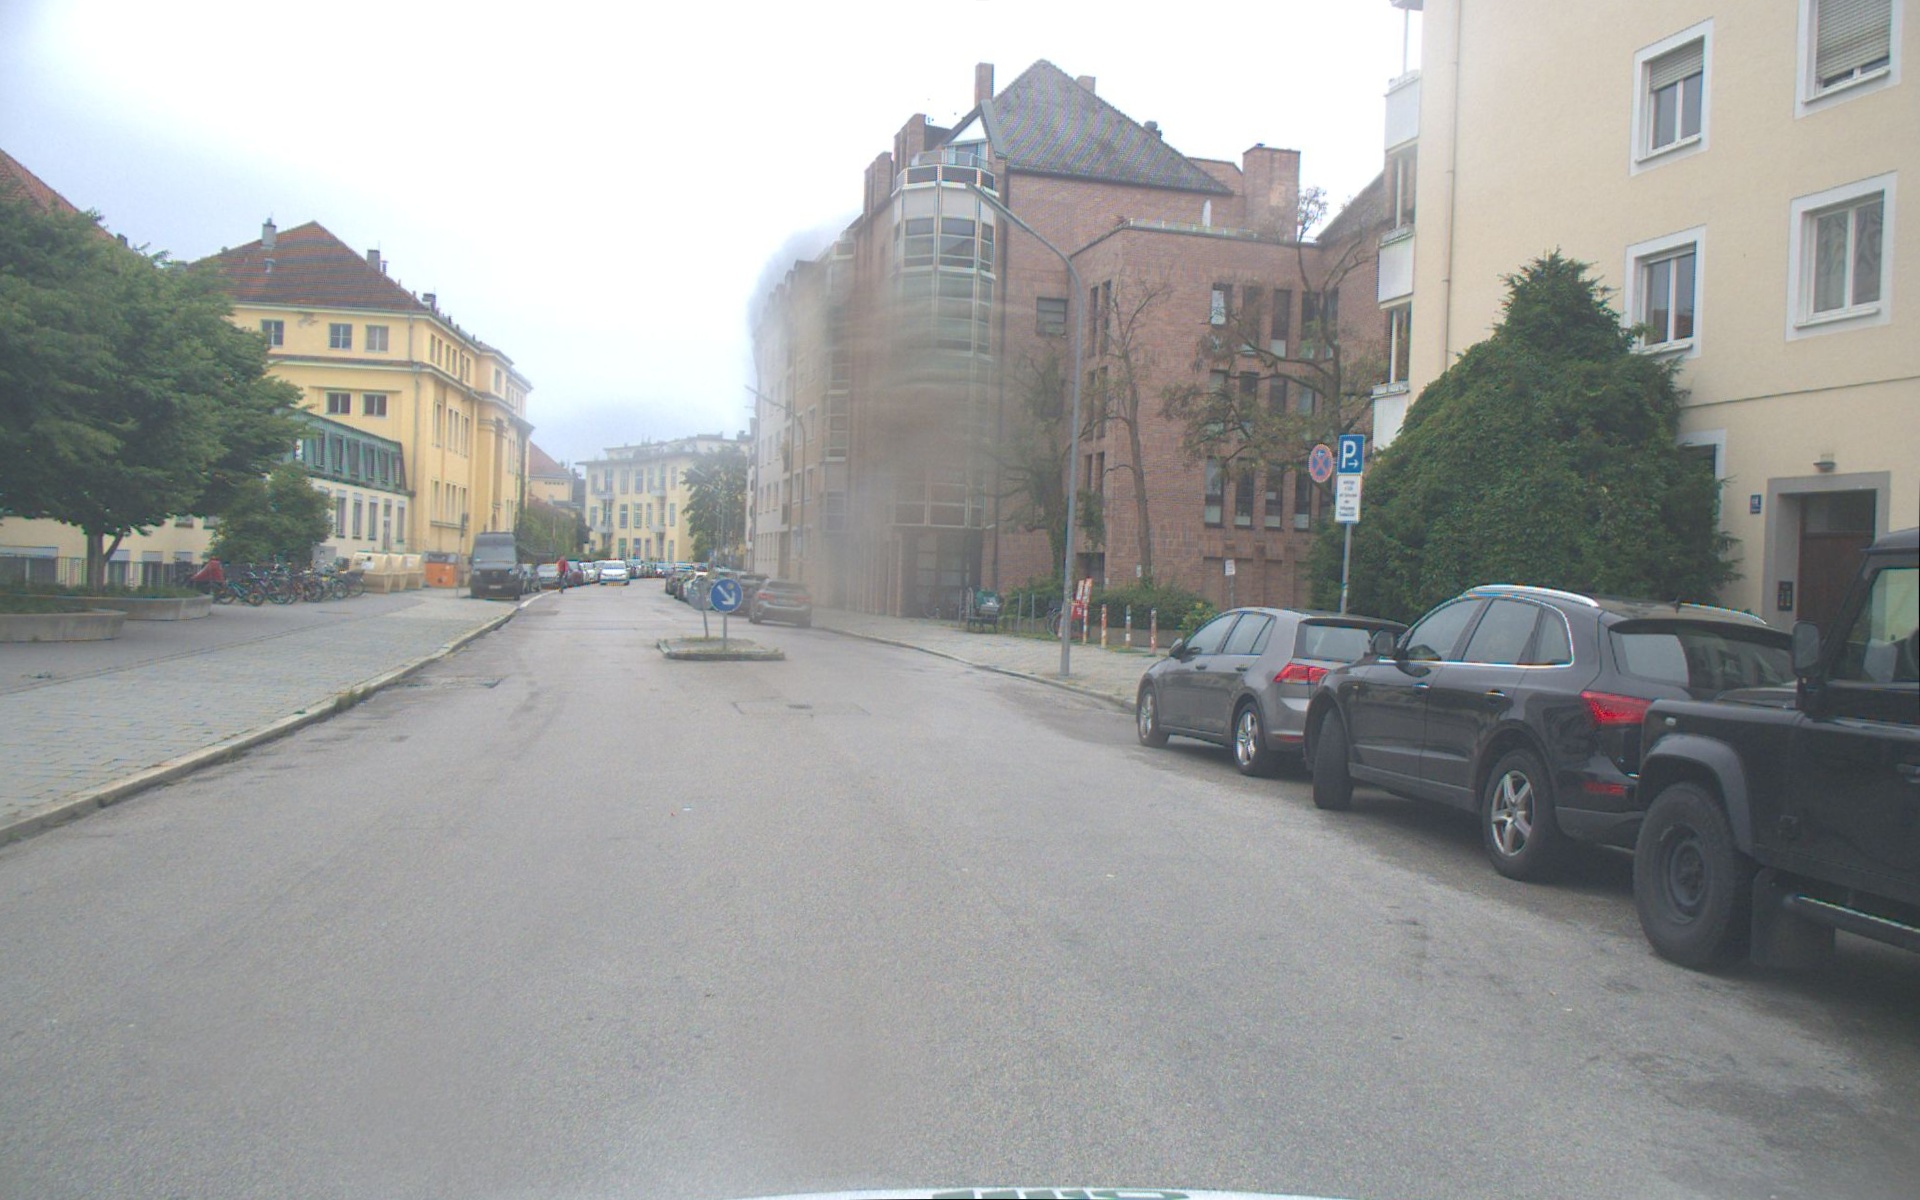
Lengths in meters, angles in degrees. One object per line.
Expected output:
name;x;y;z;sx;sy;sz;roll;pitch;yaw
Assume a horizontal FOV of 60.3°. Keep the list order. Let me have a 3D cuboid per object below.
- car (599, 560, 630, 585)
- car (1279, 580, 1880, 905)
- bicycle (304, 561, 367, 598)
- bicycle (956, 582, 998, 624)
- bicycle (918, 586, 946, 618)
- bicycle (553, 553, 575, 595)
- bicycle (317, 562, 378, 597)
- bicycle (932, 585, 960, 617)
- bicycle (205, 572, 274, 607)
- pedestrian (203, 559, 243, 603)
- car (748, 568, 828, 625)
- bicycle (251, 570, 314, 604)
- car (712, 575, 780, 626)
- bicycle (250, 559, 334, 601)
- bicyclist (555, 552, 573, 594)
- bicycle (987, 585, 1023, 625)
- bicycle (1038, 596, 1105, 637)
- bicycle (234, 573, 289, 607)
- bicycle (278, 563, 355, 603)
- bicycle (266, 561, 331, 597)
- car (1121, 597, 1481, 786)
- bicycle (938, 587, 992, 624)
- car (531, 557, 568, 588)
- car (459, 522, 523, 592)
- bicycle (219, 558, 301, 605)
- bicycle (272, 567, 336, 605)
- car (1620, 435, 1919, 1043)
car;-23.291;-1.838;111.560;1.990;1.649;4.492;0;0;-12
car;3.694;0.731;10.874;1.628;1.592;4.506;4;0;-9
bicycle;-21.909;-0.733;58.055;1.918;1.151;0.573;4;1;-3
bicycle;0.531;0.093;52.618;0.526;1.270;2.400;3;-1;-19
bicycle;-1.036;0.066;59.800;0.478;1.078;1.987;3;0;-15
bicycle;-19.911;-1.315;83.210;0.734;2.048;2.844;0;2;-7
bicycle;-22.099;-0.753;59.681;1.867;1.111;0.677;4;1;-3
bicycle;-0.513;0.028;59.975;0.478;1.078;1.988;3;1;-15
bicycle;-20.339;-0.299;46.721;1.686;0.877;0.438;4;1;-7
pedestrian;-21.112;-0.553;47.391;0.705;1.183;1.039;4;1;-8
car;-5.422;-0.140;51.658;1.892;1.538;4.378;4;1;-13
bicycle;-20.908;-0.395;51.048;1.641;0.932;0.595;4;1;-3
car;-8.046;-0.013;61.968;1.801;1.629;4.248;4;2;-17
bicycle;-21.520;-0.646;53.299;2.503;1.227;0.424;2;1;-3
bicyclist;-19.917;-1.358;83.295;0.752;2.048;0.766;-1;2;-8
bicycle;1.401;0.159;51.169;0.412;1.193;1.358;4;1;31
bicycle;3.026;0.456;44.752;1.671;0.982;0.544;4;1;-13
bicycle;-20.200;-0.297;47.829;1.346;0.877;0.438;4;1;-7
bicycle;-21.559;-0.571;55.403;2.264;1.154;0.581;4;1;-3
bicycle;-21.537;-0.675;53.879;1.830;1.047;0.539;4;1;-3
car;2.991;0.748;15.419;1.724;1.420;4.032;4;0;-13
bicycle;0.181;0.182;58.463;1.813;1.167;0.487;4;1;-8
car;-23.692;-1.605;95.456;1.740;1.576;3.770;4;1;-10
car;-19.451;-1.748;68.823;2.381;2.762;5.930;1;0;-14
bicycle;-20.921;-0.561;49.458;2.063;1.249;0.786;4;1;-3
bicycle;-20.837;-0.445;52.543;1.755;1.050;0.507;4;1;-3
car;4.259;0.540;5.603;1.714;2.117;4.510;4;1;-7
